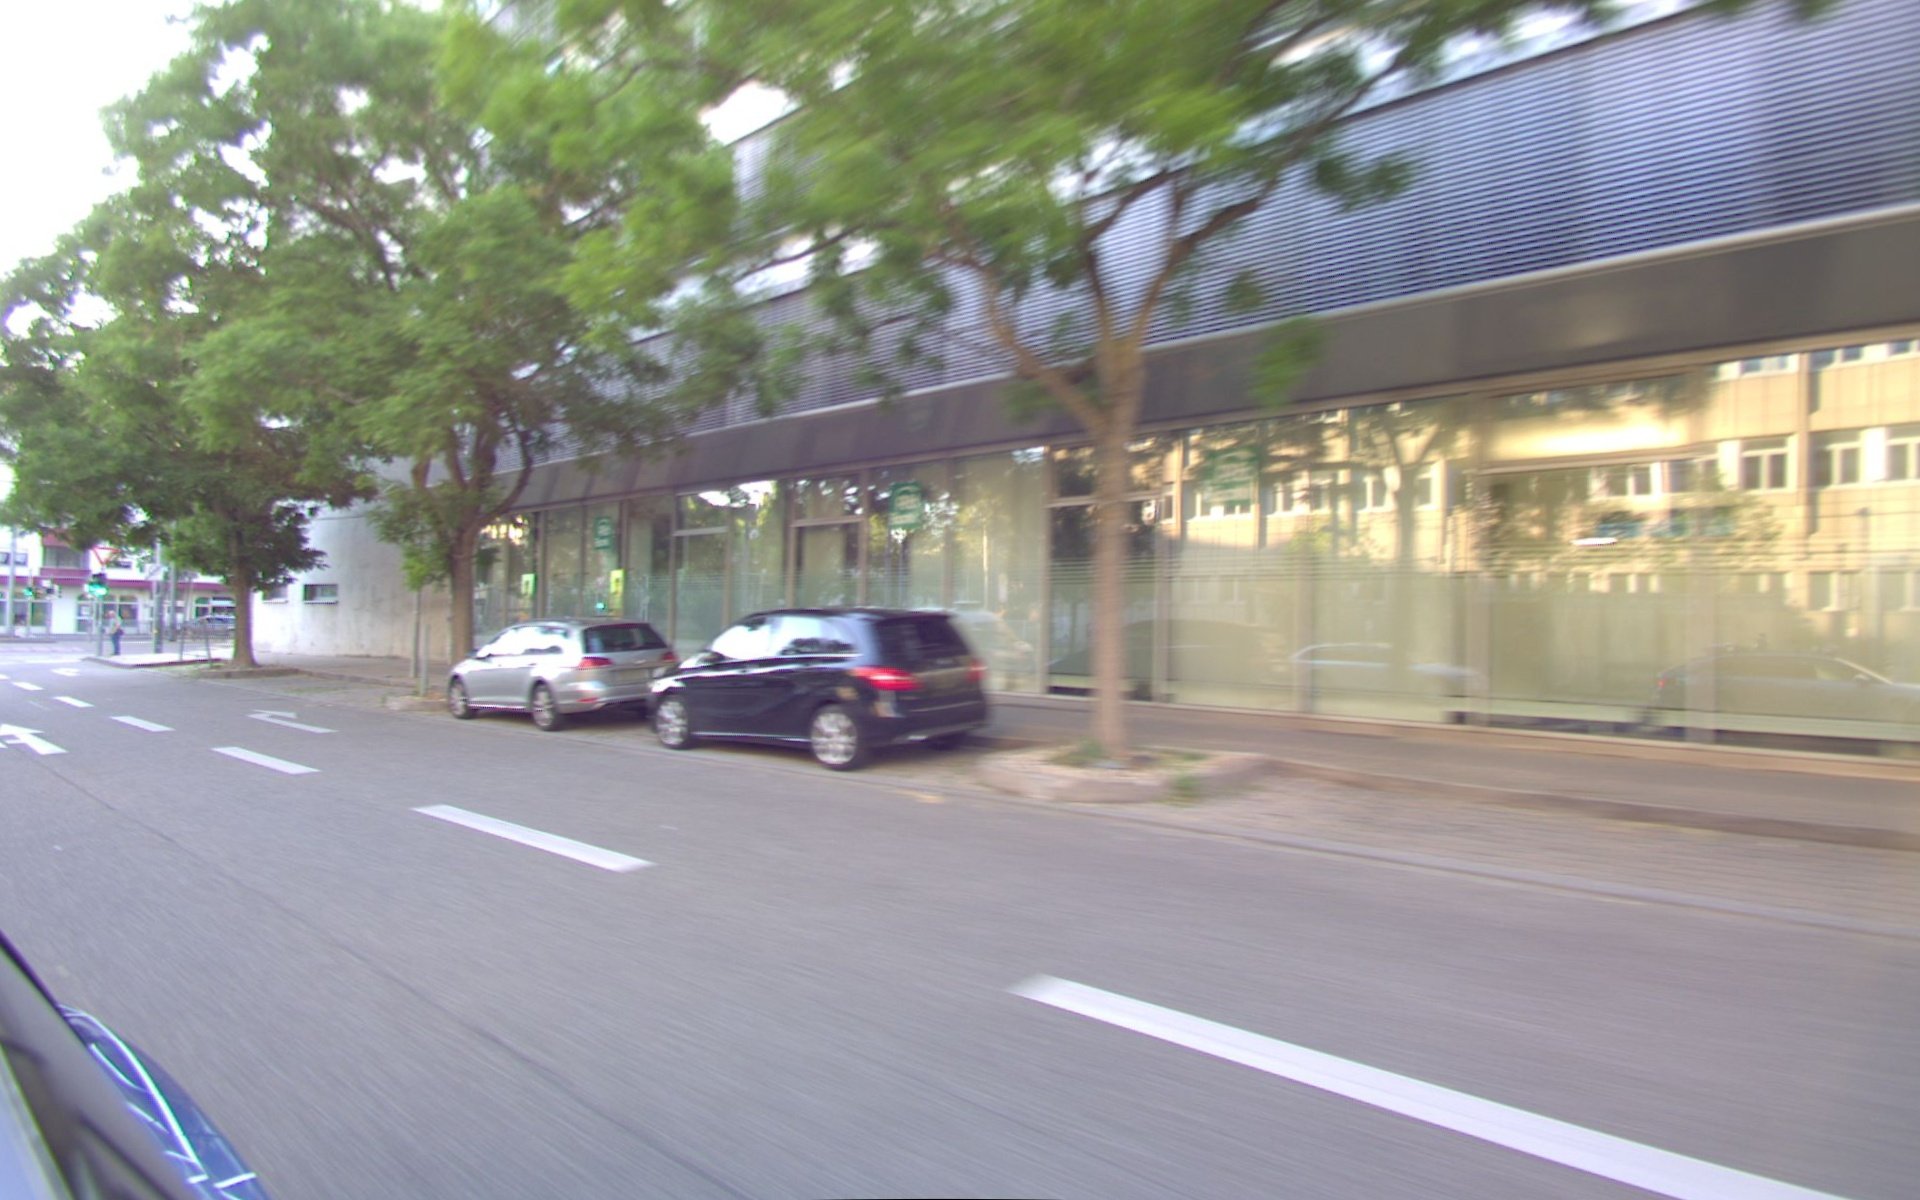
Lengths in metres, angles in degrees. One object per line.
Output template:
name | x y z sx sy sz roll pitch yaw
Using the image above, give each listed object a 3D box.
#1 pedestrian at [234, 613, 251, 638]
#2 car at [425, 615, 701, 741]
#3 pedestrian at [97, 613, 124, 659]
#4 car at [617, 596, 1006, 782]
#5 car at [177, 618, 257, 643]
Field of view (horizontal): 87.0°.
pedestrian | -53.400 1.889 75.298 0.691 1.820 0.824 -1 -2 42
car | -5.763 0.983 14.405 4.624 1.472 1.686 -1 1 41
pedestrian | -32.105 1.361 38.262 0.537 1.714 0.710 1 -2 -22
car | -1.756 0.802 10.843 4.469 1.580 1.573 -1 1 41
car | -50.523 2.085 68.867 1.665 1.608 4.046 -1 -2 41
